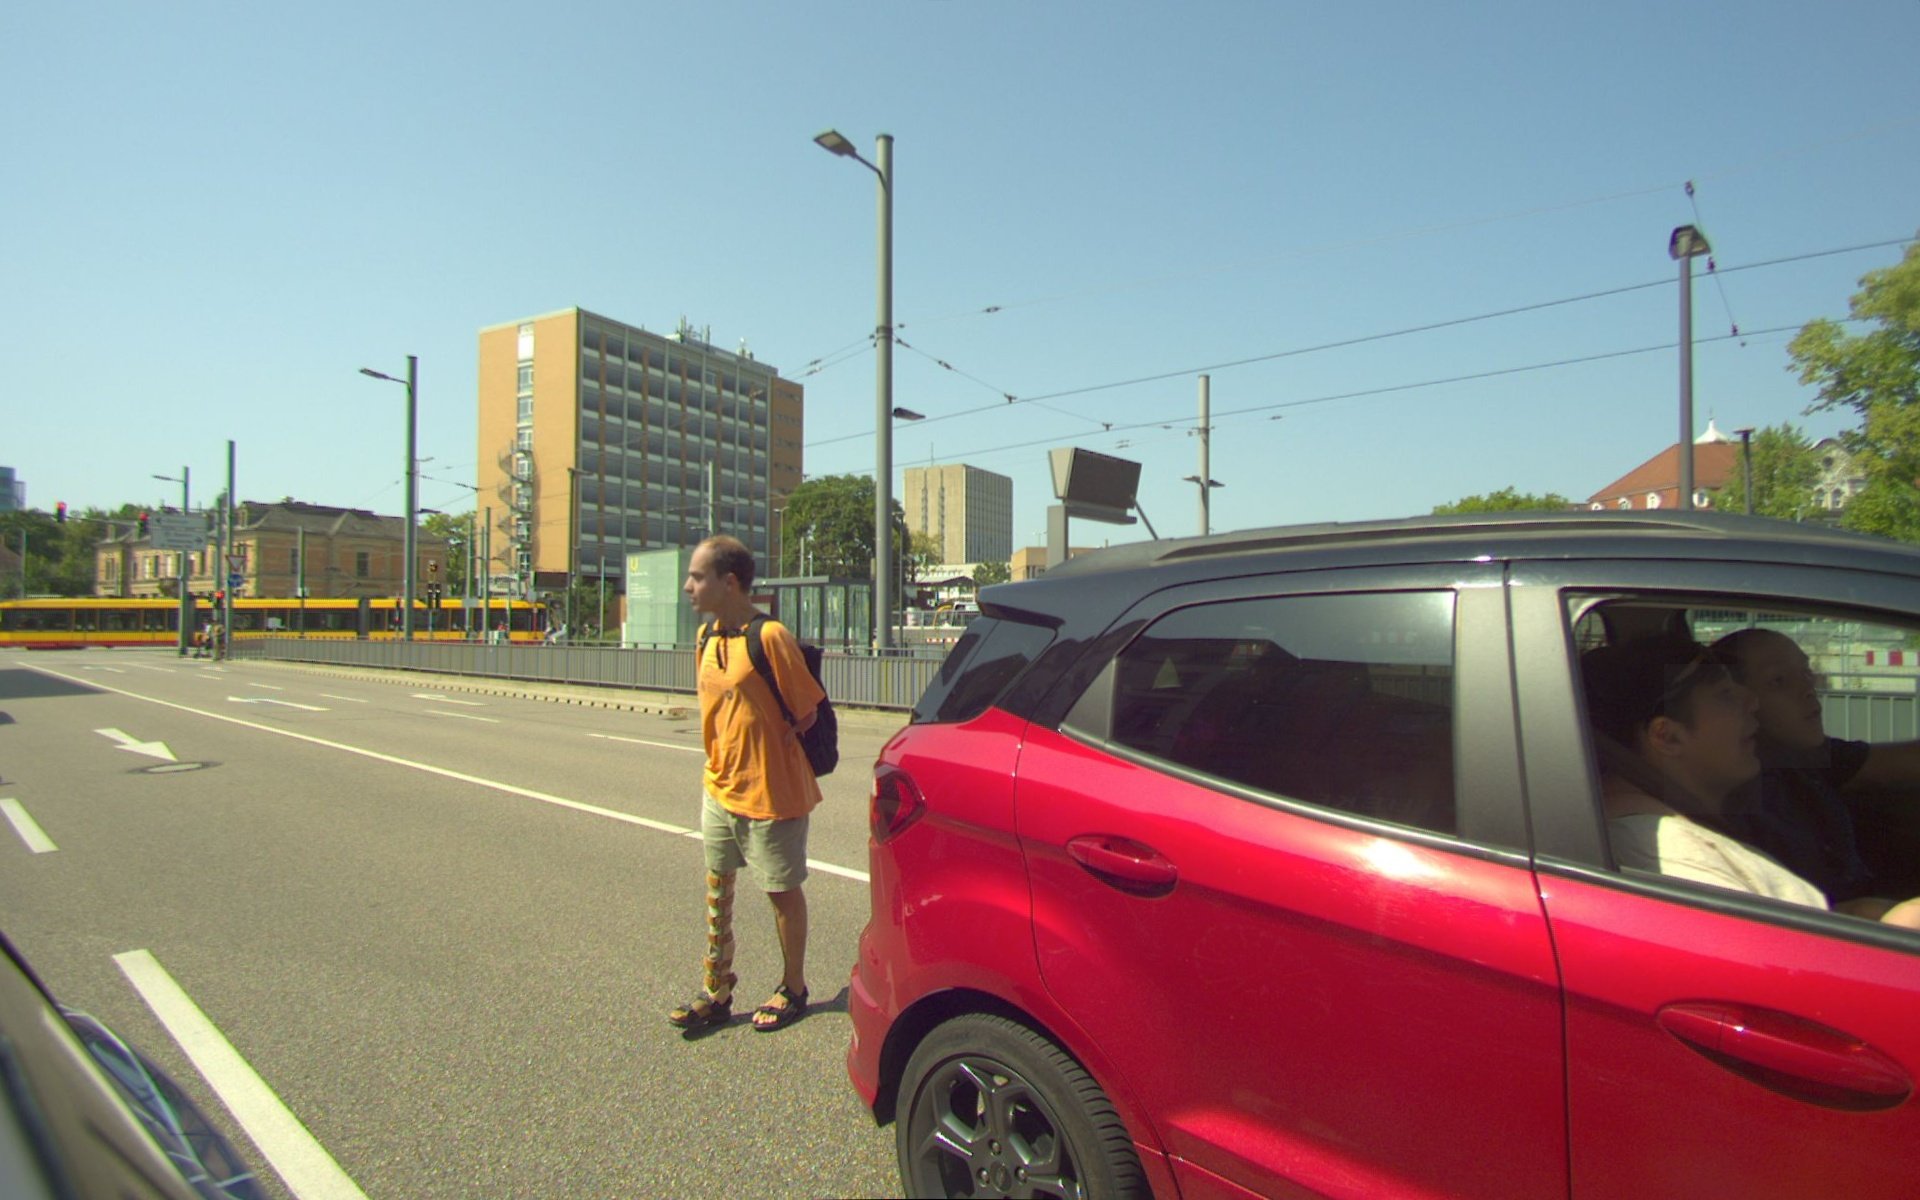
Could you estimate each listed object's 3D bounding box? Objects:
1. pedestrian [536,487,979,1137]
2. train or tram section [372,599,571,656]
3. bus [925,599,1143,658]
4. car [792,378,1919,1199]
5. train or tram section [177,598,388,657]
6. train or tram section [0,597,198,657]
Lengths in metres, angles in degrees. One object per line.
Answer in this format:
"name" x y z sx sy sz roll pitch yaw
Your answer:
"pedestrian" -0.628 0.581 3.506 0.961 1.754 1.229 -1 -1 25
"train or tram section" -32.824 1.858 68.348 12.178 3.794 2.002 0 -2 -5
"bus" 4.509 1.733 63.563 13.207 3.319 3.354 -1 0 -4
"car" 1.600 0.580 1.631 3.968 1.633 1.612 -1 -1 43
"train or tram section" -44.941 1.837 67.354 12.178 3.794 2.002 0 -2 -5
"train or tram section" -57.060 1.777 66.099 12.173 3.794 2.003 0 -2 -7
